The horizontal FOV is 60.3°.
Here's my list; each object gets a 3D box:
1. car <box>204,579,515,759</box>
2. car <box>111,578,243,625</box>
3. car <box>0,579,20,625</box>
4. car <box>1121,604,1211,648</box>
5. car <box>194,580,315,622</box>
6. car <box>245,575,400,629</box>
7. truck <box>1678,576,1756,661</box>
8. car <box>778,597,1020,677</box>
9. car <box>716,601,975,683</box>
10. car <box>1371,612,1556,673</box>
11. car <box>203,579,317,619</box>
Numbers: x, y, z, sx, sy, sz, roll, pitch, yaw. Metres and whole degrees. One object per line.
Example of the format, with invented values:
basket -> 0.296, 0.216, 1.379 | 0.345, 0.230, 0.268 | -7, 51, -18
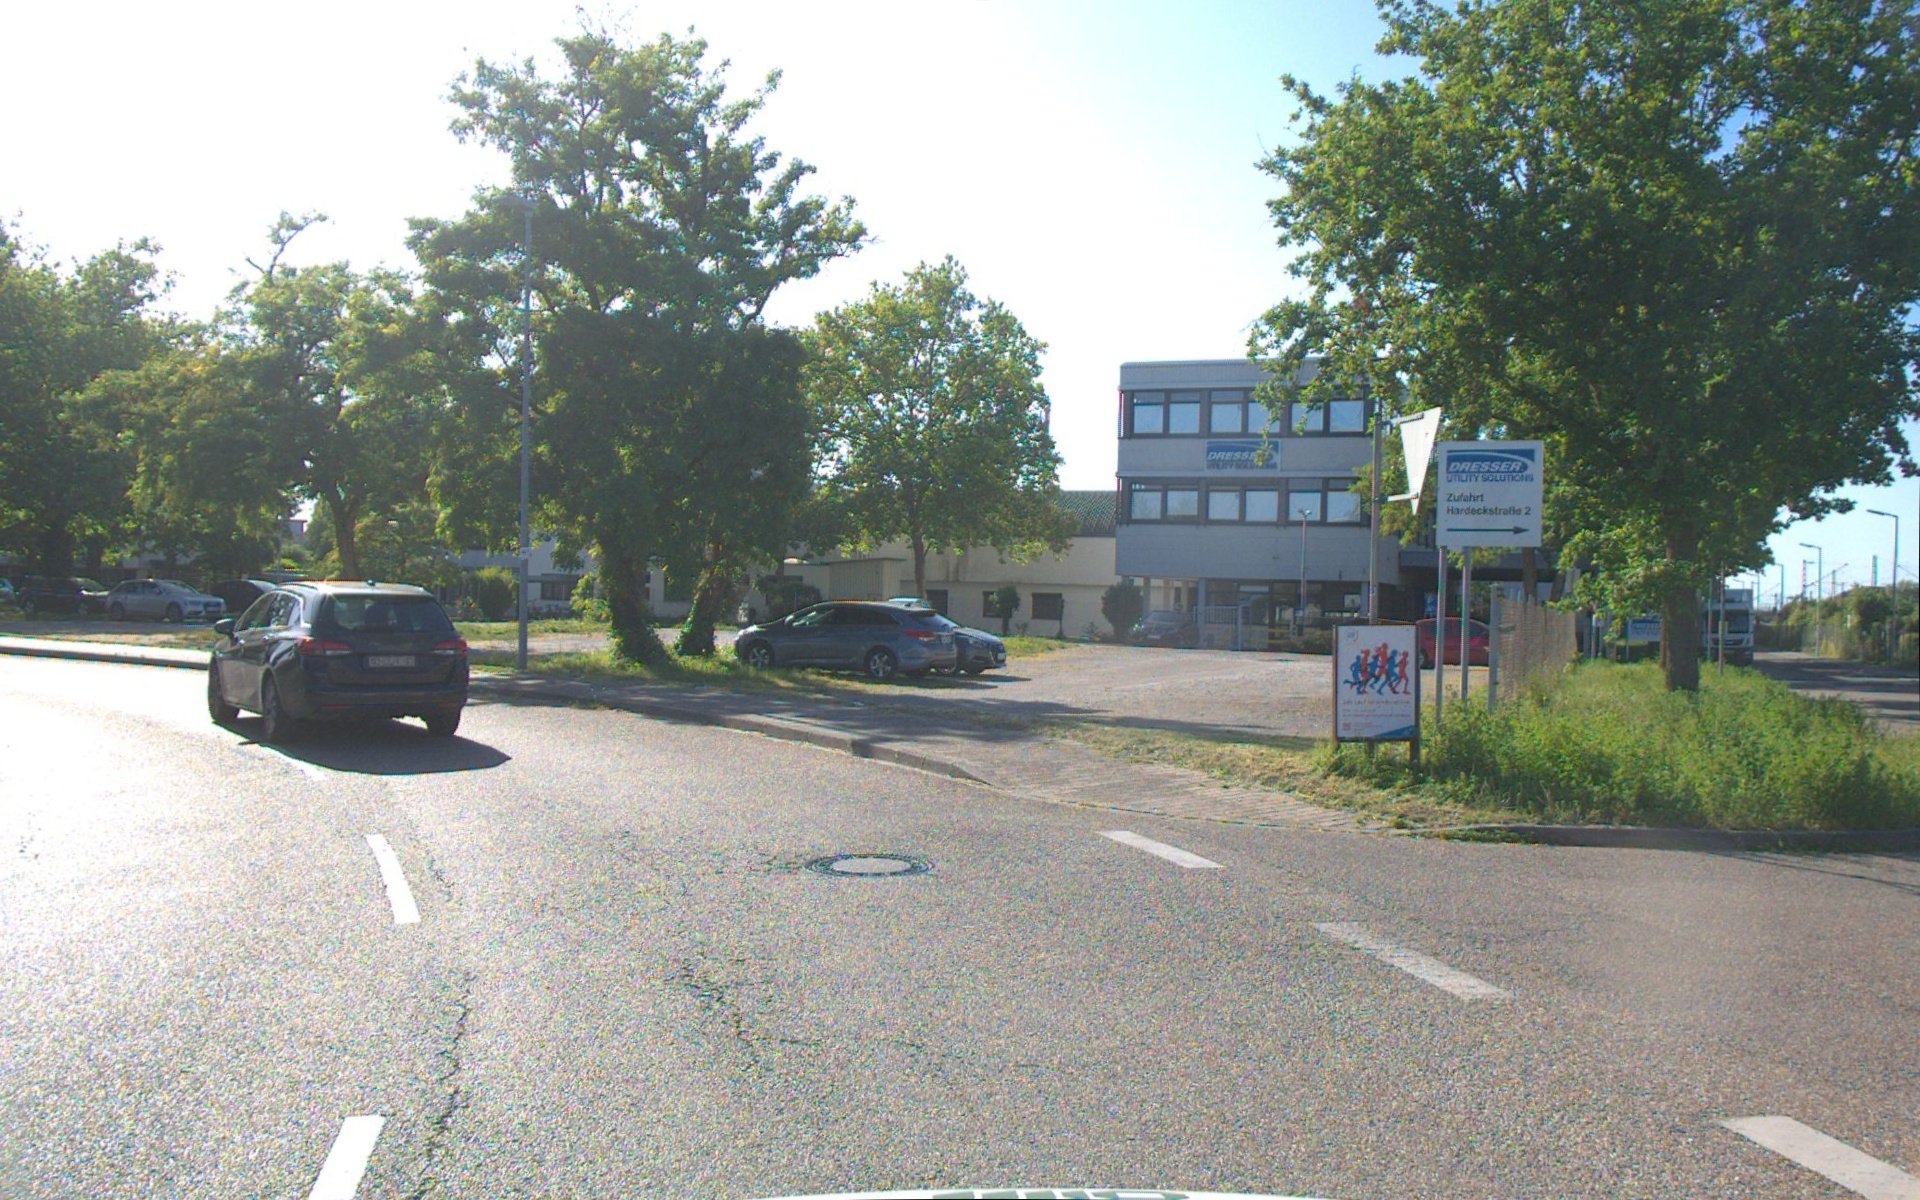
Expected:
car -> -6.199, 0.569, 16.735 | 1.926, 1.514, 4.511 | 0, 1, -34
car -> -27.395, 0.051, 57.819 | 4.824, 1.510, 1.994 | 2, 0, 34
car -> -34.131, 0.015, 56.076 | 4.824, 1.510, 1.994 | 2, 0, 34
car -> 7.930, 0.960, 63.203 | 1.954, 1.510, 4.923 | 1, 1, 25
car -> -27.453, 0.018, 64.338 | 4.824, 1.510, 1.994 | 2, 0, 34
car -> -19.425, 0.053, 50.346 | 4.824, 1.510, 1.994 | 2, 0, 34
truck -> 38.990, 0.938, 85.536 | 2.559, 3.953, 13.532 | 2, 0, 21
car -> -1.316, 0.762, 35.723 | 4.811, 1.510, 1.999 | 2, 0, 23
car -> -2.311, 0.808, 33.317 | 4.811, 1.451, 1.999 | 2, 0, 23
car -> 14.529, 1.190, 47.779 | 4.816, 1.510, 1.997 | 2, 1, 28
car -> -28.829, -0.059, 68.074 | 4.824, 1.510, 1.994 | 2, 0, 34
